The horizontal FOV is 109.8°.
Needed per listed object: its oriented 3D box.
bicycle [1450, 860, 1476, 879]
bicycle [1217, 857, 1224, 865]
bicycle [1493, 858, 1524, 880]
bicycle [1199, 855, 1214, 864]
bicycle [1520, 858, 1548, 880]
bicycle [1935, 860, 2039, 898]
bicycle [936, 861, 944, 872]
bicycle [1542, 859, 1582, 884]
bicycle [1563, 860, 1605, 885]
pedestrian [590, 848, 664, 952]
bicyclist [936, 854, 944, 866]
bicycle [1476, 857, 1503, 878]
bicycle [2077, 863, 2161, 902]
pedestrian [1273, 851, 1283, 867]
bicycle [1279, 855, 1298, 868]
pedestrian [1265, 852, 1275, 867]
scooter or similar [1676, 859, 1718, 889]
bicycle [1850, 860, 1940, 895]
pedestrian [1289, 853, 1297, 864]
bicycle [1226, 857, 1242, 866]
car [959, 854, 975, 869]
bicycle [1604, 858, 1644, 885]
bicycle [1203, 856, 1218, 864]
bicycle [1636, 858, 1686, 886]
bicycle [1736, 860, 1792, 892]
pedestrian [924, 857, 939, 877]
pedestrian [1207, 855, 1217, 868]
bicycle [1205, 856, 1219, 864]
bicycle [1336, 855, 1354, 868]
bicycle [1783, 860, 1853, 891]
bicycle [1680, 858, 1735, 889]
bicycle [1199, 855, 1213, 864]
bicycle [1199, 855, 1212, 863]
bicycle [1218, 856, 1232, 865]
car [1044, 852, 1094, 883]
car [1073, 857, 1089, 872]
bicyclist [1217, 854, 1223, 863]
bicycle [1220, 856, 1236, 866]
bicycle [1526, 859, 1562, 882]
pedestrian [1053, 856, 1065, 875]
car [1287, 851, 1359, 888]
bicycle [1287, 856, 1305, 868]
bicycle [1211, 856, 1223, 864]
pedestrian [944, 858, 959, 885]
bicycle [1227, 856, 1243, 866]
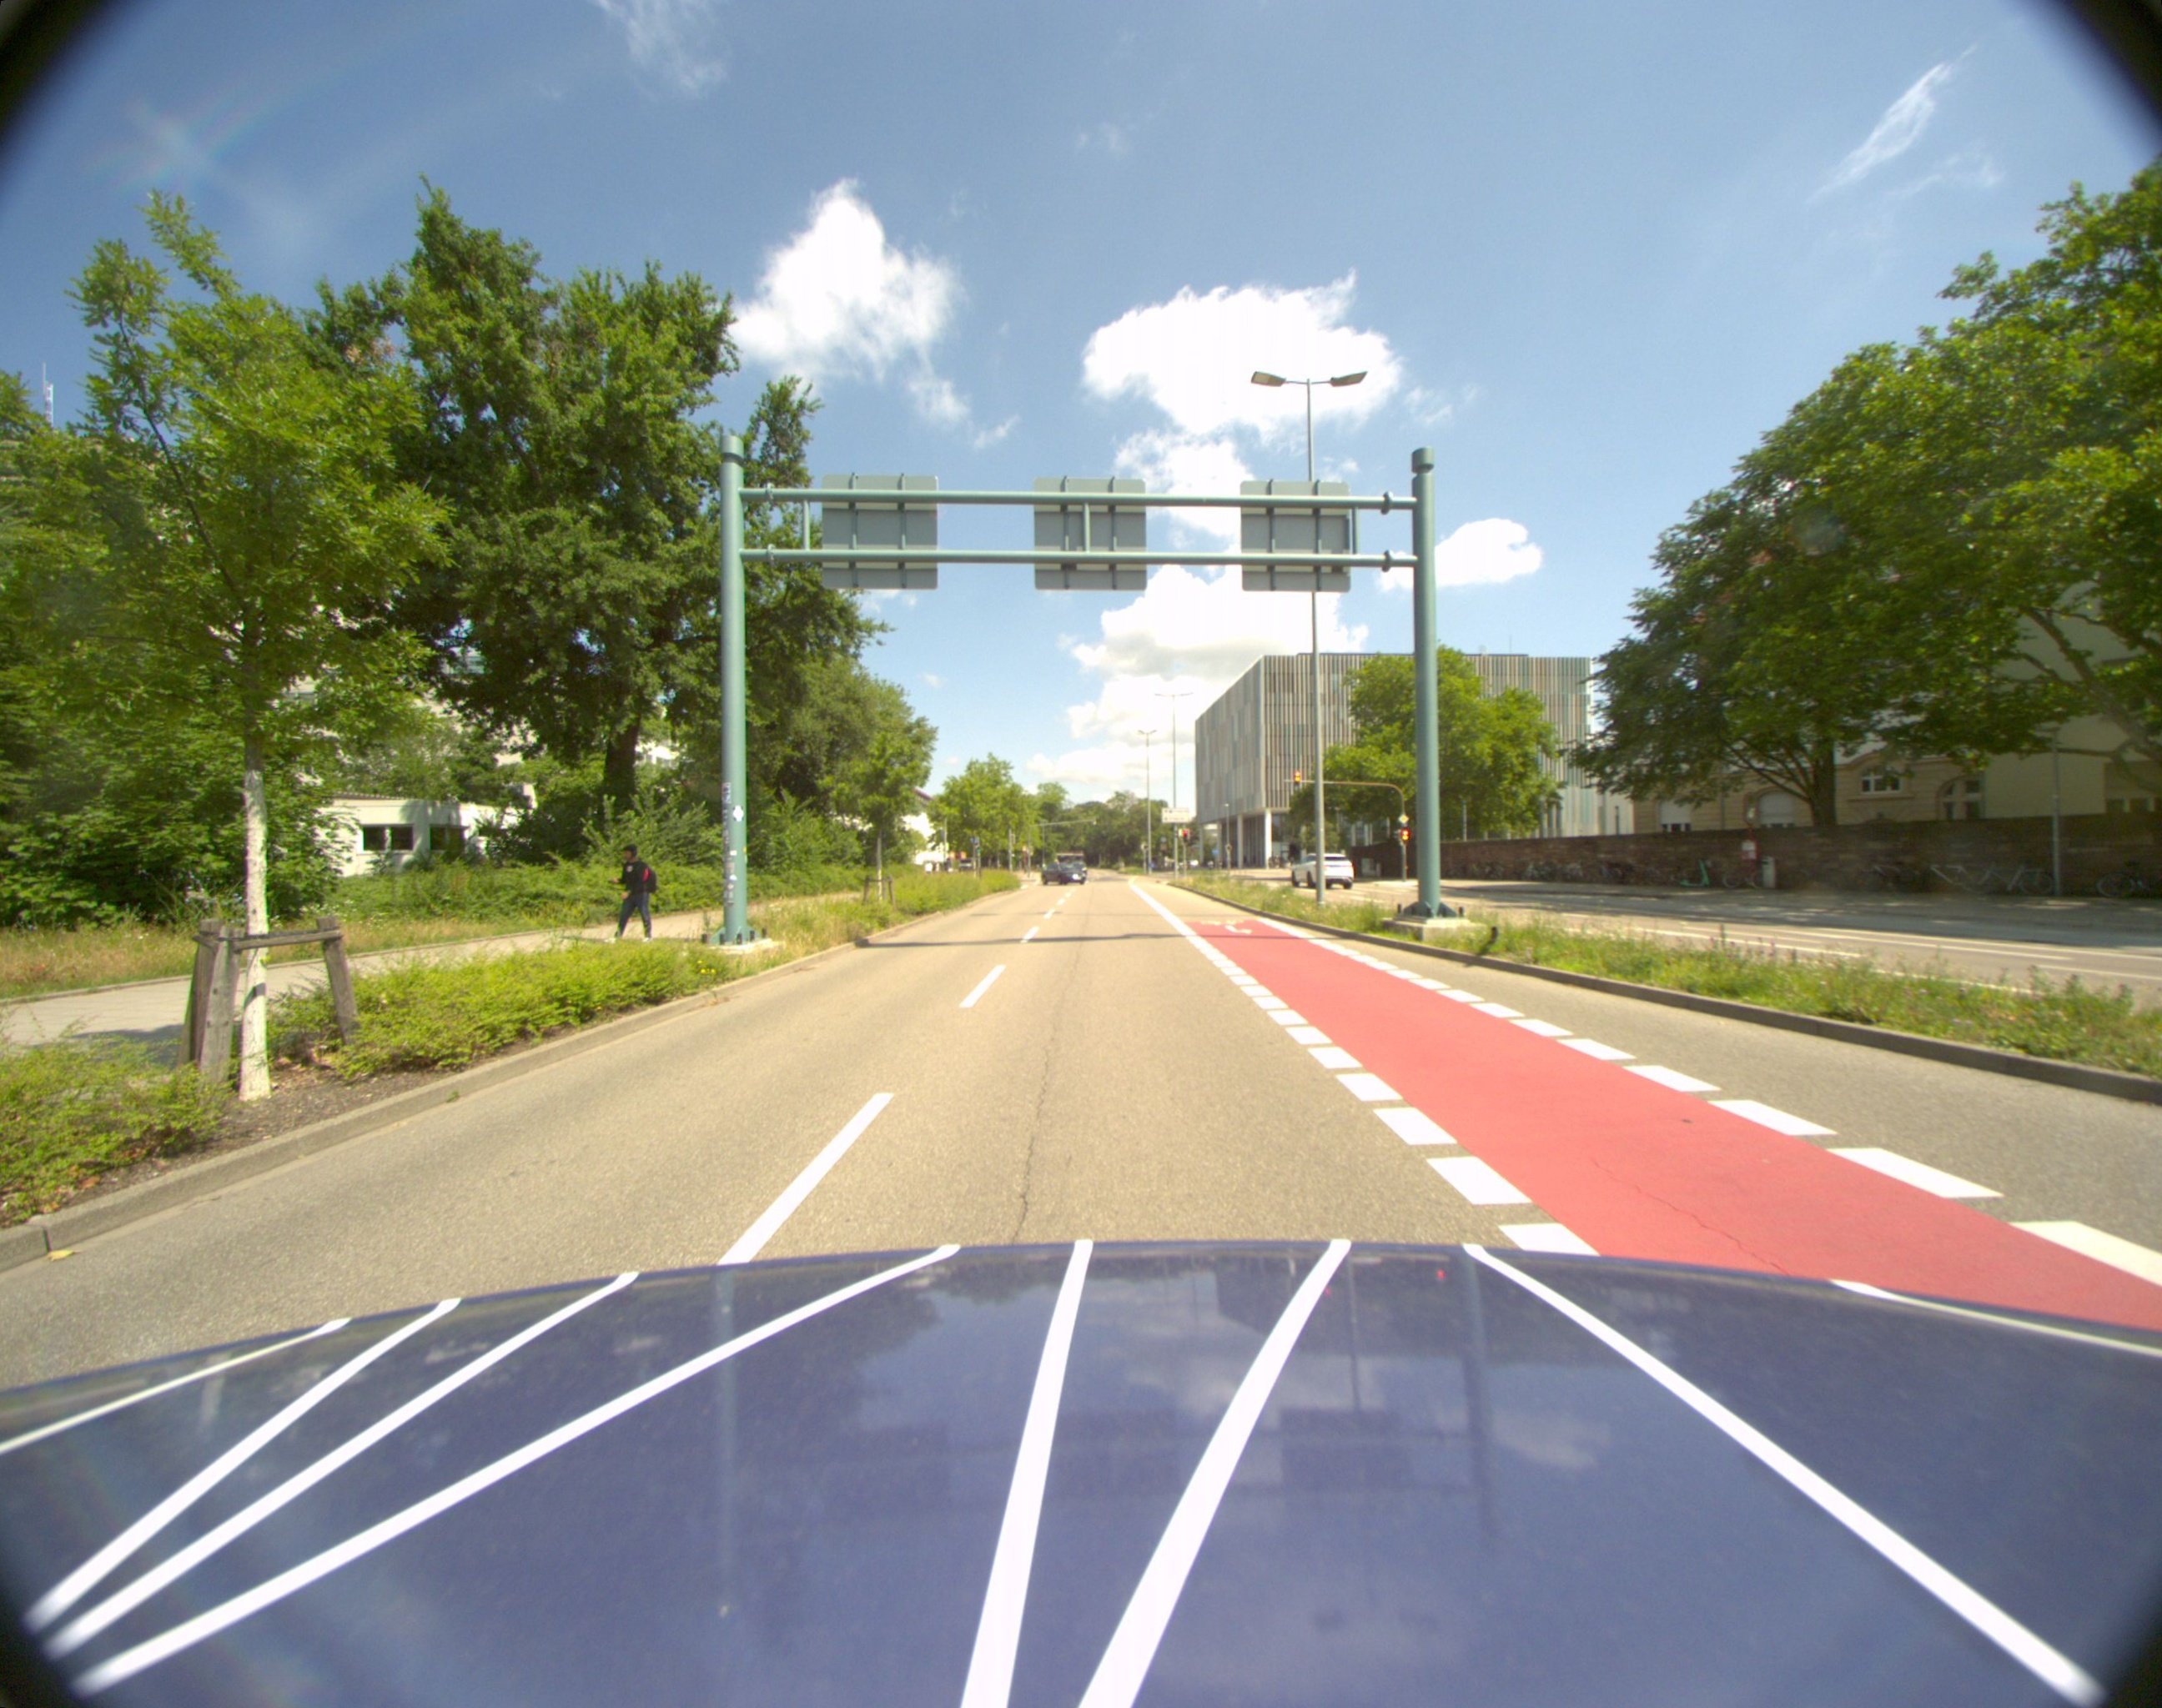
[{"bbox_3d":[22.507,0.882,44.790,0.573,1.092,1.593,-1,0,-8],"label":"bicycle"},{"bbox_3d":[18.617,0.941,101.329,0.647,0.992,2.164,-1,0,1],"label":"bicycle"},{"bbox_3d":[23.040,0.779,40.986,0.623,1.145,1.593,-1,0,-8],"label":"bicycle"},{"bbox_3d":[23.054,1.012,139.685,2.511,1.486,0.621,-1,0,1],"label":"bicycle"},{"bbox_3d":[23.400,0.765,39.270,0.413,1.145,1.593,-1,0,-5],"label":"bicycle"},{"bbox_3d":[25.949,0.696,21.808,0.545,1.041,1.894,-1,0,-11],"label":"bicycle"},{"bbox_3d":[-16.965,1.484,91.451,0.885,1.244,2.164,-1,0,-8],"label":"bicycle"},{"bbox_3d":[23.266,0.844,36.768,0.403,1.145,1.590,-1,0,-32],"label":"bicycle"},{"bbox_3d":[23.503,0.851,35.531,0.403,1.145,1.590,-1,0,-32],"label":"bicycle"},{"bbox_3d":[-7.714,0.763,12.946,0.718,1.711,0.837,-1,0,2],"label":"pedestrian"},{"bbox_3d":[-16.964,0.723,91.391,0.972,1.436,1.076,-1,0,-8],"label":"bicyclist"},{"bbox_3d":[22.912,0.774,42.669,0.500,1.145,1.593,-1,0,-8],"label":"bicycle"},{"bbox_3d":[26.441,0.697,19.077,0.545,0.944,1.664,-1,0,-11],"label":"bicycle"},{"bbox_3d":[25.264,0.640,97.399,0.969,1.914,0.880,-1,0,27],"label":"pedestrian"},{"bbox_3d":[26.644,0.928,97.578,0.808,1.634,3.422,-1,0,42],"label":"bicycle"},{"bbox_3d":[23.481,0.668,94.521,0.969,1.914,0.880,-1,1,30],"label":"pedestrian"},{"bbox_3d":[23.912,0.754,29.512,0.433,1.145,1.191,-1,0,-20],"label":"scooter or similar"},{"bbox_3d":[25.615,0.708,23.965,0.545,1.041,1.948,-1,0,-11],"label":"bicycle"},{"bbox_3d":[30.749,0.652,110.036,1.012,1.697,1.212,-1,0,21],"label":"pedestrian"},{"bbox_3d":[24.036,1.162,119.192,2.451,1.486,0.621,-1,0,1],"label":"bicycle"},{"bbox_3d":[-15.774,1.055,105.252,2.000,2.042,4.226,-1,0,-8],"label":"car"},{"bbox_3d":[23.897,0.758,33.460,0.403,1.145,1.593,-1,0,-11],"label":"bicycle"},{"bbox_3d":[23.169,1.039,135.889,2.511,1.486,0.621,-1,0,1],"label":"bicycle"},{"bbox_3d":[24.032,0.740,31.490,0.534,1.145,1.591,-1,0,-21],"label":"bicycle"},{"bbox_3d":[24.955,0.791,27.789,0.433,1.136,1.593,-1,0,-12],"label":"bicycle"},{"bbox_3d":[-13.662,1.175,69.405,0.876,1.861,0.974,-1,1,34],"label":"pedestrian"},{"bbox_3d":[16.391,0.910,95.283,0.972,1.619,0.878,-1,0,-9],"label":"pedestrian"},{"bbox_3d":[23.267,1.047,134.877,2.511,1.486,0.621,-1,0,1],"label":"bicycle"},{"bbox_3d":[31.984,0.848,92.076,0.997,1.543,3.422,-1,0,37],"label":"bicycle"},{"bbox_3d":[25.250,0.724,26.085,0.482,1.002,1.800,-1,0,-8],"label":"bicycle"},{"bbox_3d":[24.508,0.747,29.750,0.534,1.145,1.591,-1,0,-21],"label":"bicycle"},{"bbox_3d":[23.164,1.004,140.385,2.511,1.486,0.621,-1,0,1],"label":"bicycle"},{"bbox_3d":[23.262,0.993,141.671,2.302,1.486,0.657,-1,0,1],"label":"bicycle"},{"bbox_3d":[23.897,1.109,125.975,2.200,1.486,0.621,-1,0,1],"label":"bicycle"},{"bbox_3d":[-0.874,0.897,50.790,2.002,2.002,3.993,-1,0,-22],"label":"car"},{"bbox_3d":[-0.019,1.209,89.051,1.846,1.593,3.999,-1,0,-2],"label":"car"},{"bbox_3d":[18.585,0.625,101.339,0.618,1.219,0.834,-1,0,-2],"label":"bicyclist"},{"bbox_3d":[23.741,1.136,122.880,2.511,1.486,0.621,-1,0,1],"label":"bicycle"},{"bbox_3d":[23.170,0.808,38.035,0.403,1.145,1.591,-1,0,-22],"label":"bicycle"},{"bbox_3d":[-2.237,1.159,78.522,1.108,1.914,0.972,-1,0,6],"label":"pedestrian"},{"bbox_3d":[11.500,0.718,36.467,2.076,1.657,4.776,-1,0,2],"label":"car"},{"bbox_3d":[27.410,1.006,96.844,2.693,1.485,0.930,-1,0,-44],"label":"bicycle"},{"bbox_3d":[23.679,1.062,132.312,2.071,1.486,0.621,-1,0,1],"label":"bicycle"},{"bbox_3d":[-8.503,1.146,49.964,0.815,1.711,0.929,-1,0,2],"label":"pedestrian"},{"bbox_3d":[24.324,1.149,120.197,2.509,1.486,0.730,-1,0,10],"label":"bicycle"}]
